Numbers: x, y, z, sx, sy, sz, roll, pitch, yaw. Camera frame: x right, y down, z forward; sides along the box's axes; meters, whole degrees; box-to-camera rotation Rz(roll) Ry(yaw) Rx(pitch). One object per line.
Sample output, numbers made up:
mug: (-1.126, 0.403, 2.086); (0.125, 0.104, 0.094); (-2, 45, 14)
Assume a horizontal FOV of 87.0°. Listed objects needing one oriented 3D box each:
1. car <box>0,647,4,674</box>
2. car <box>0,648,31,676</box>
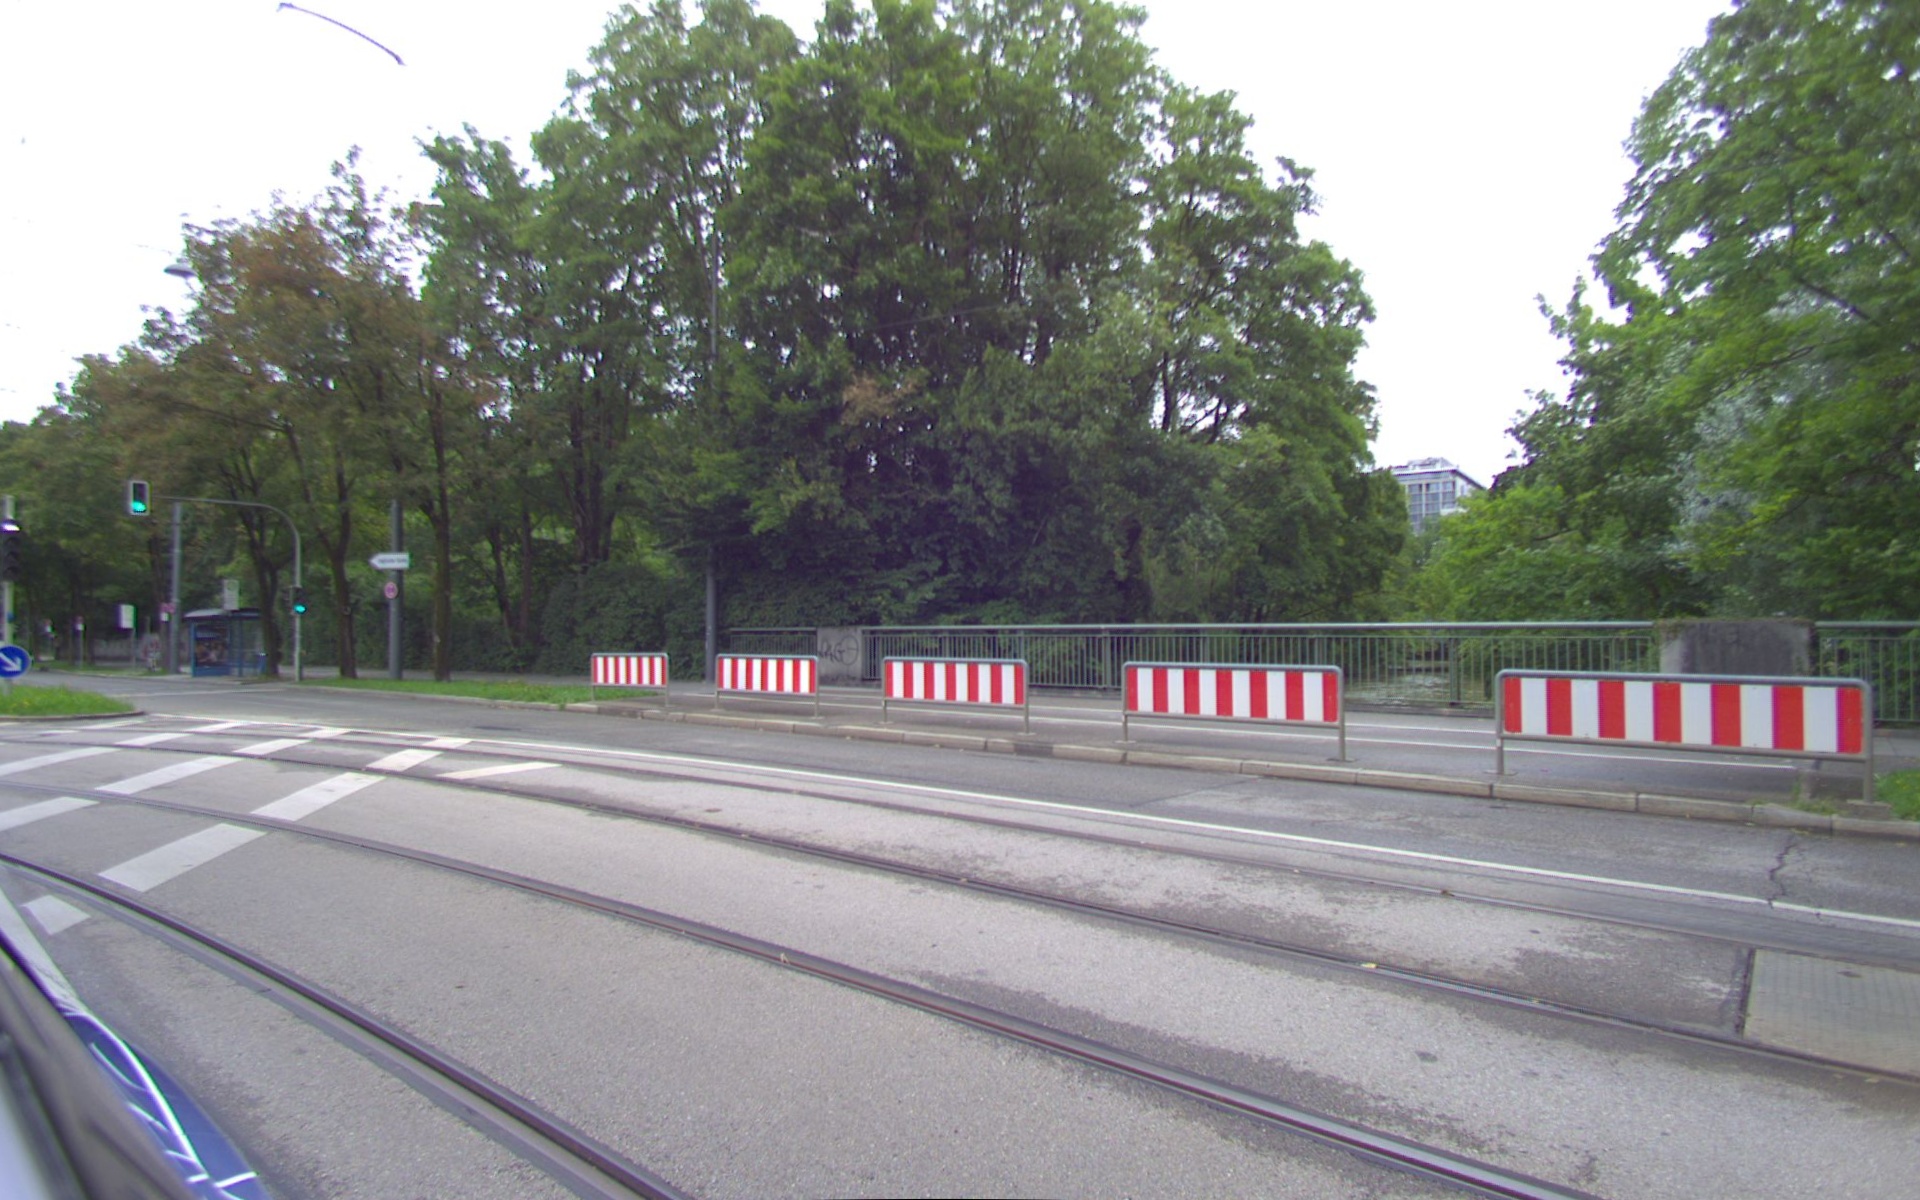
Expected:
car: (-64.728, 3.993, 66.840); (3.996, 1.739, 1.864); (-1, 0, 40)
car: (-60.144, 3.898, 63.712); (3.996, 1.552, 1.864); (-1, 0, 40)
